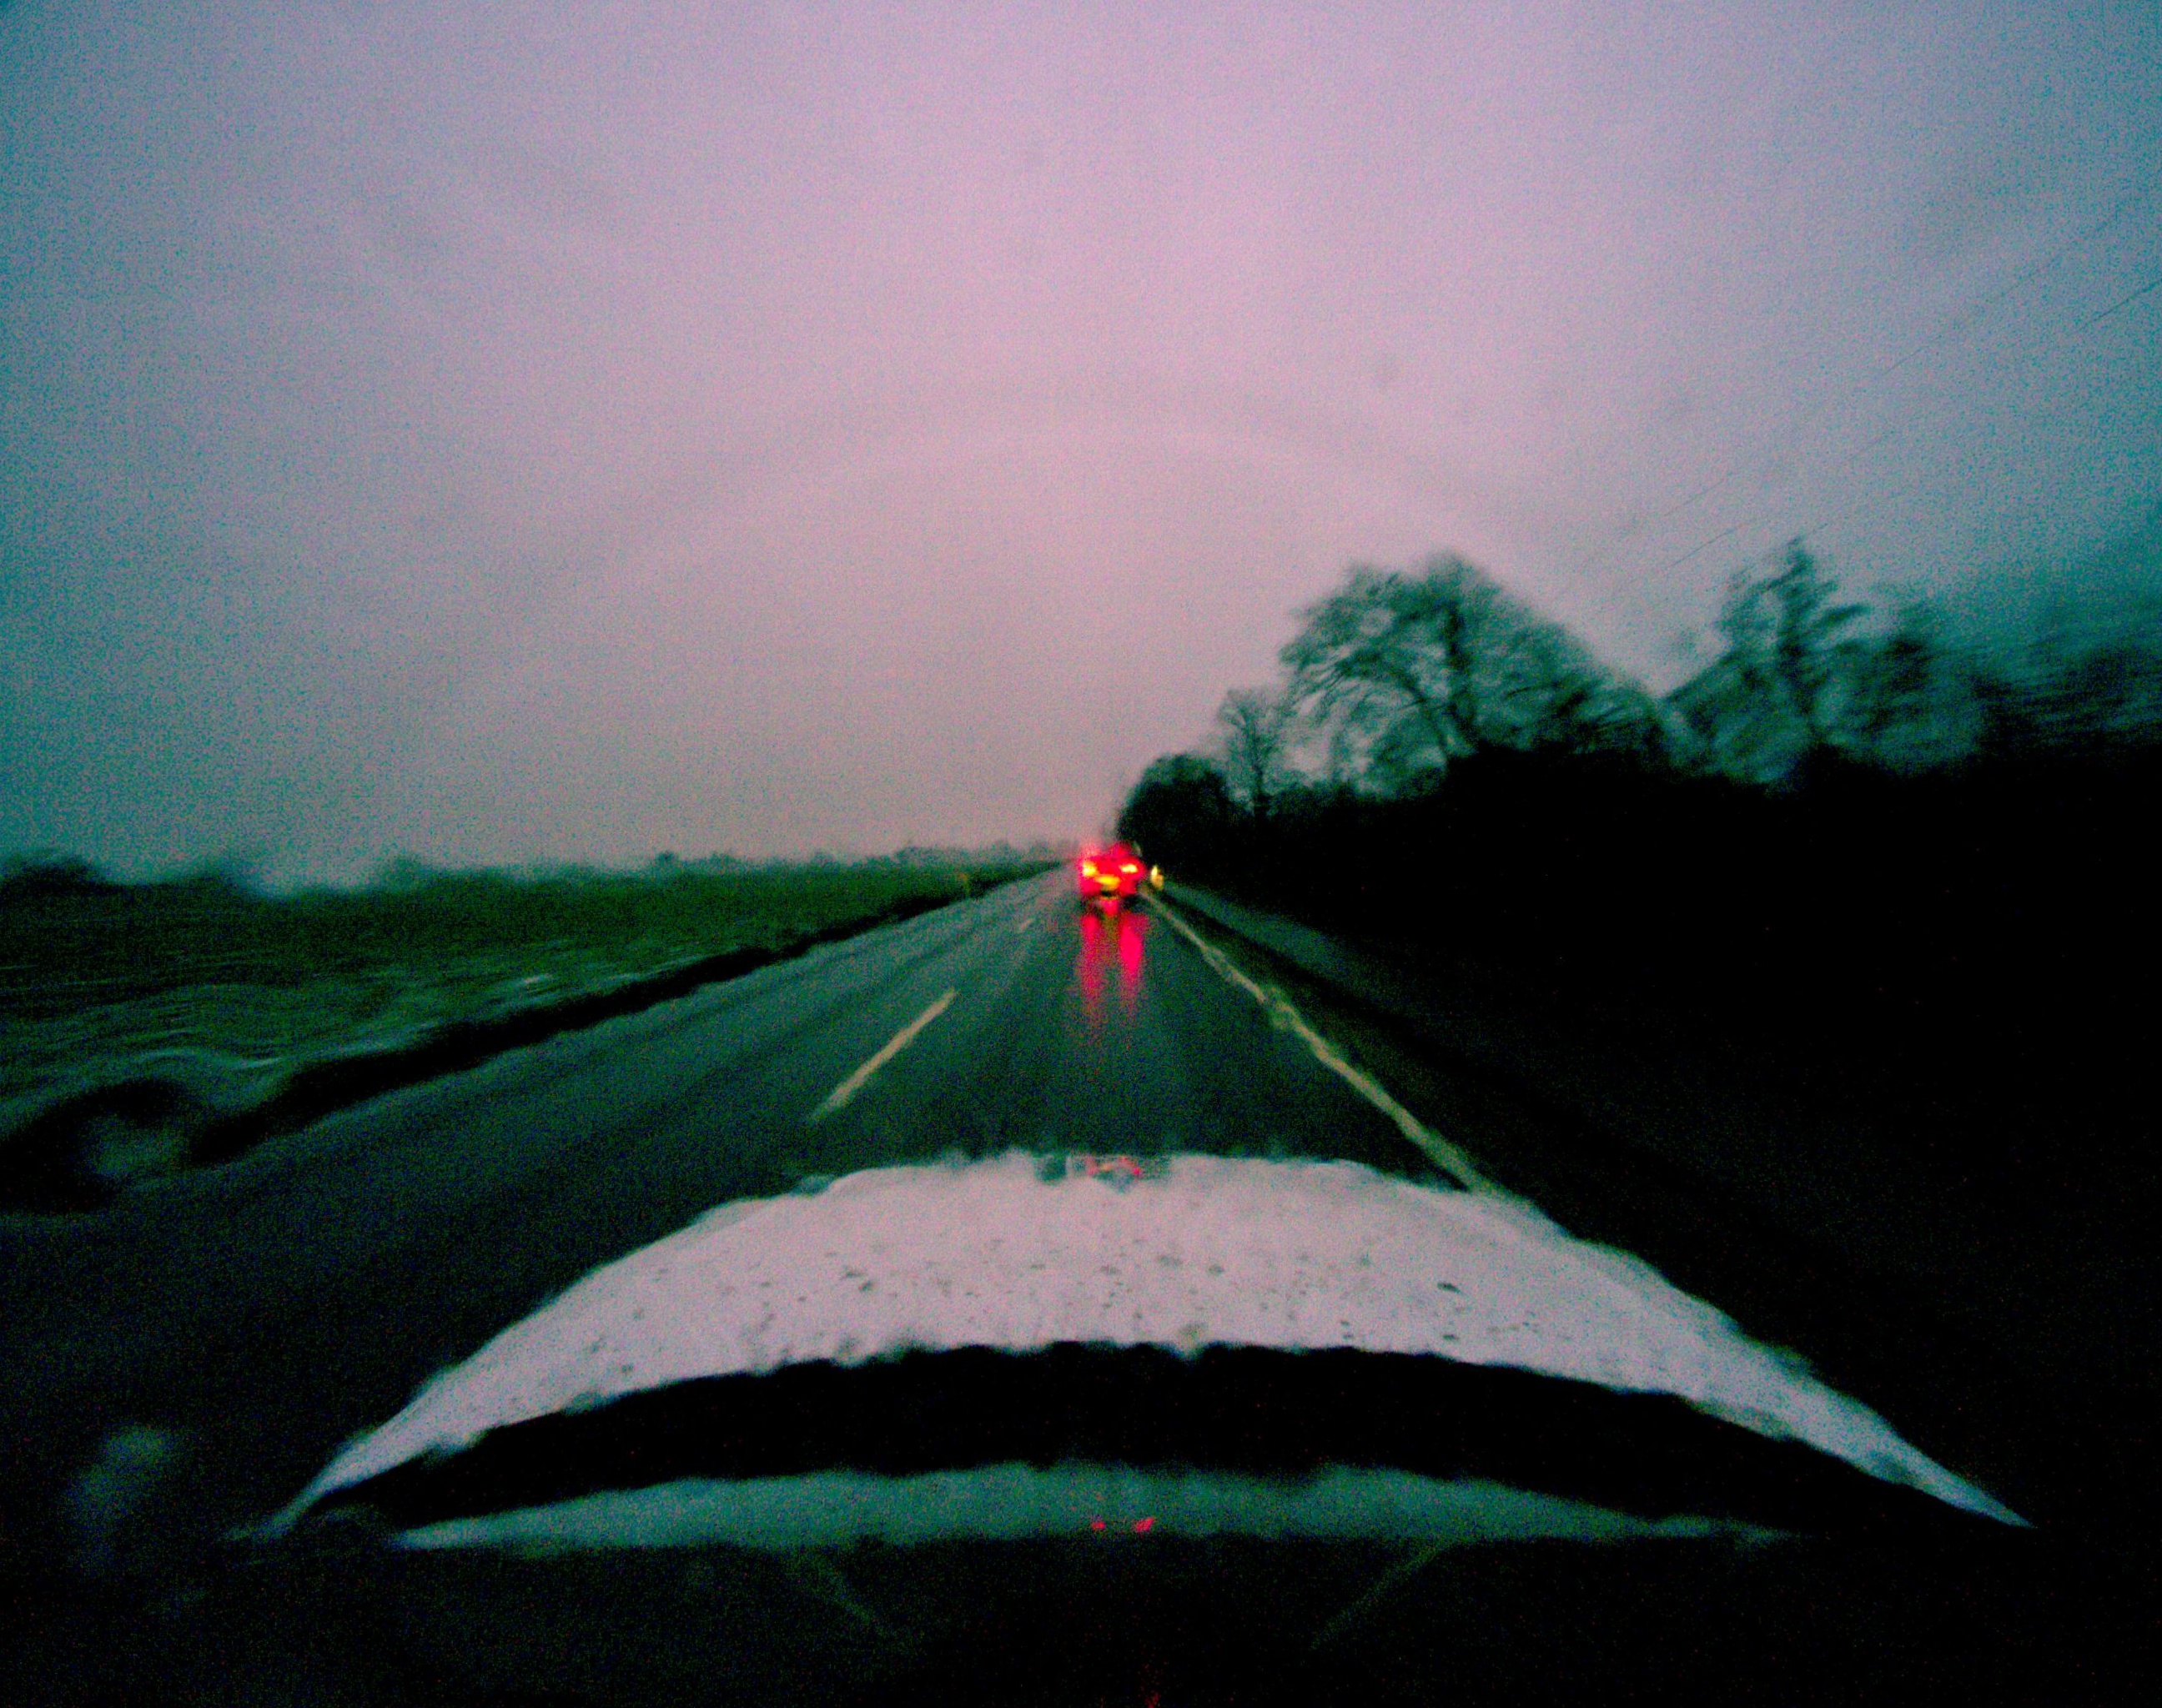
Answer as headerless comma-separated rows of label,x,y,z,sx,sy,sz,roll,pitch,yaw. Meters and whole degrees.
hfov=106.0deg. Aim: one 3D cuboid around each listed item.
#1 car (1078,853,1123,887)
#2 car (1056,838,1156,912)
car,1.233,0.953,50.401,2.582,2.014,5.806,0,0,2
car,0.794,0.623,25.954,2.810,2.077,5.806,0,0,2
